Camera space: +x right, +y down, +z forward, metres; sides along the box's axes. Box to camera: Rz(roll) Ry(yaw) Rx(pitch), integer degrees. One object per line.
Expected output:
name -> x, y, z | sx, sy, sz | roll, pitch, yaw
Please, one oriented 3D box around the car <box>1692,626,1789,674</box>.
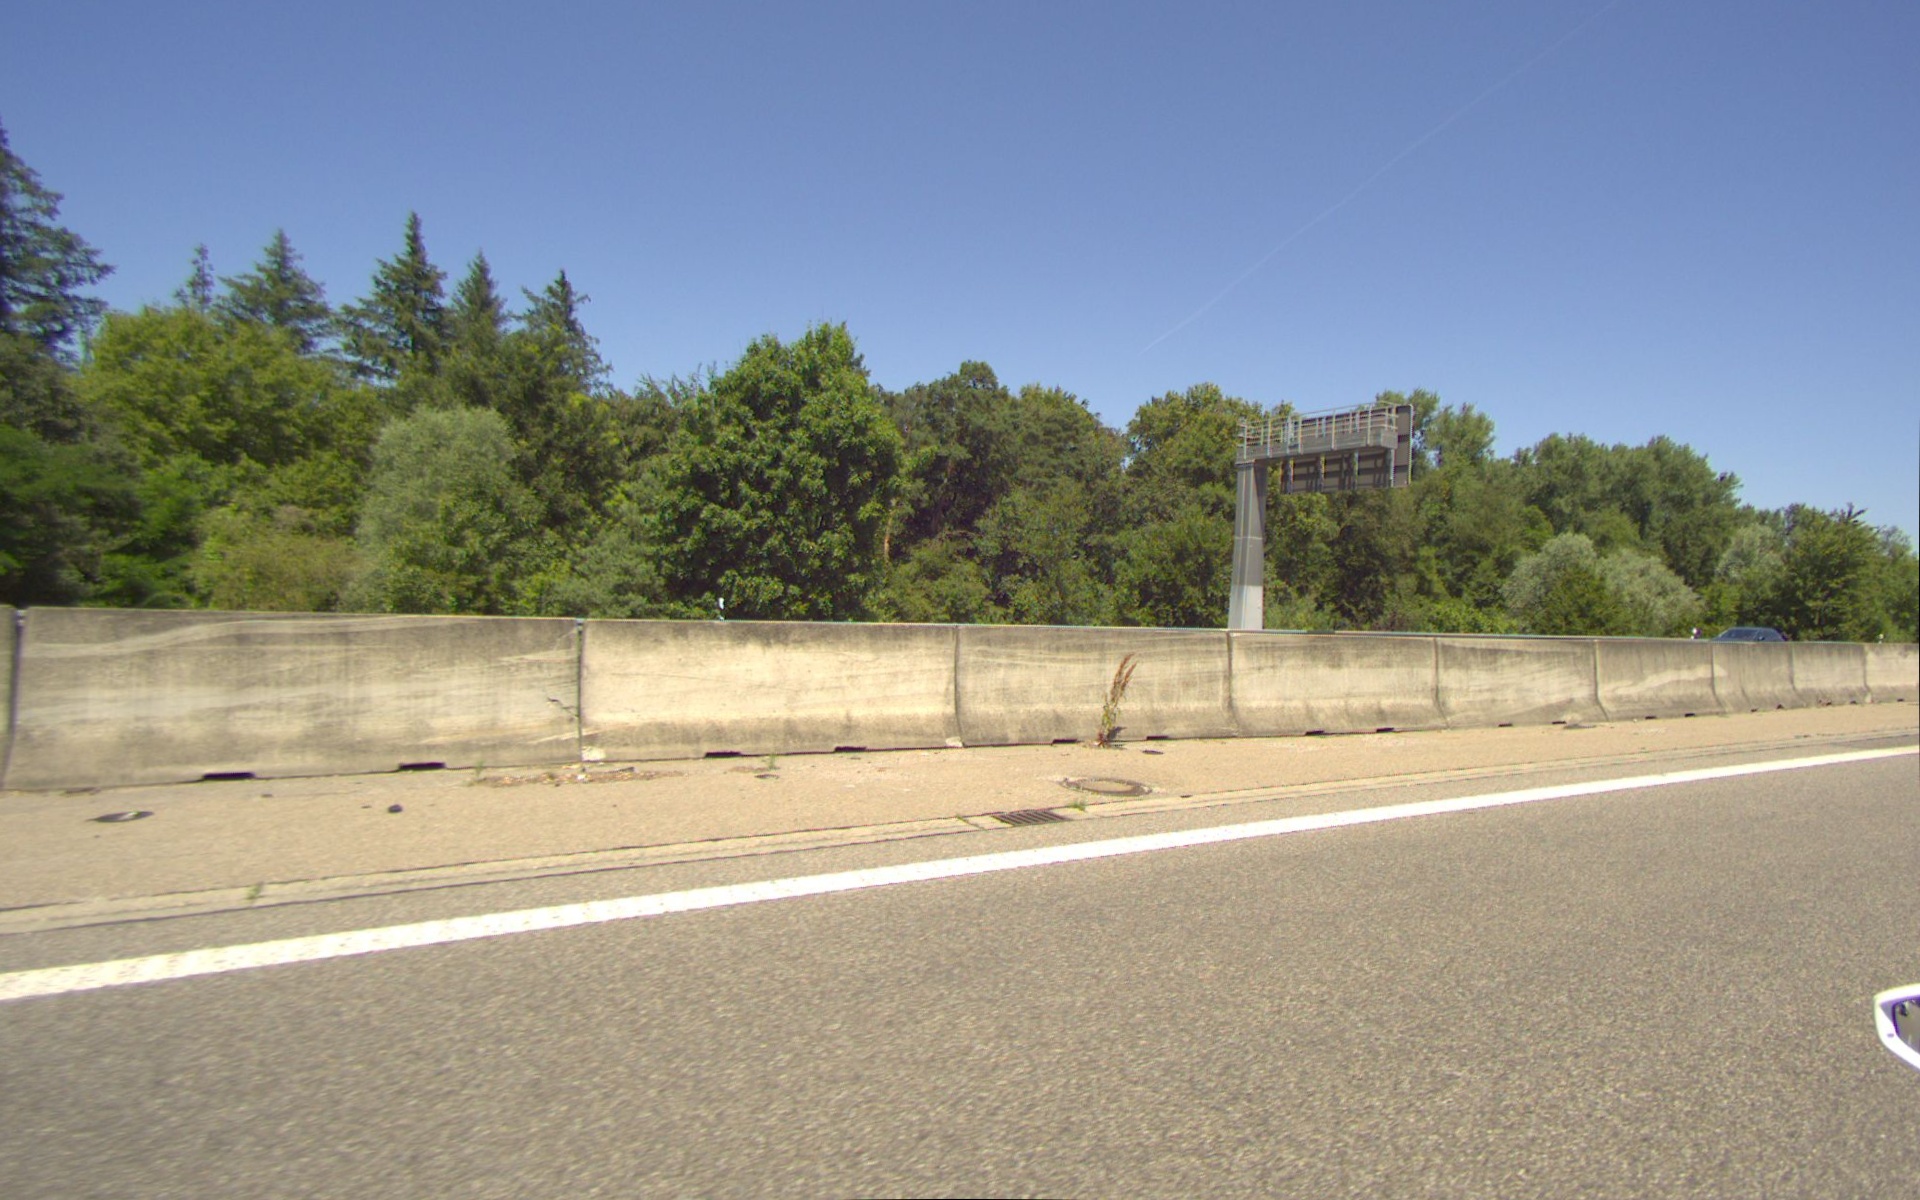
car -> 36.479, 2.319, 46.936 | 4.375, 2.040, 1.985 | 2, 0, -29
